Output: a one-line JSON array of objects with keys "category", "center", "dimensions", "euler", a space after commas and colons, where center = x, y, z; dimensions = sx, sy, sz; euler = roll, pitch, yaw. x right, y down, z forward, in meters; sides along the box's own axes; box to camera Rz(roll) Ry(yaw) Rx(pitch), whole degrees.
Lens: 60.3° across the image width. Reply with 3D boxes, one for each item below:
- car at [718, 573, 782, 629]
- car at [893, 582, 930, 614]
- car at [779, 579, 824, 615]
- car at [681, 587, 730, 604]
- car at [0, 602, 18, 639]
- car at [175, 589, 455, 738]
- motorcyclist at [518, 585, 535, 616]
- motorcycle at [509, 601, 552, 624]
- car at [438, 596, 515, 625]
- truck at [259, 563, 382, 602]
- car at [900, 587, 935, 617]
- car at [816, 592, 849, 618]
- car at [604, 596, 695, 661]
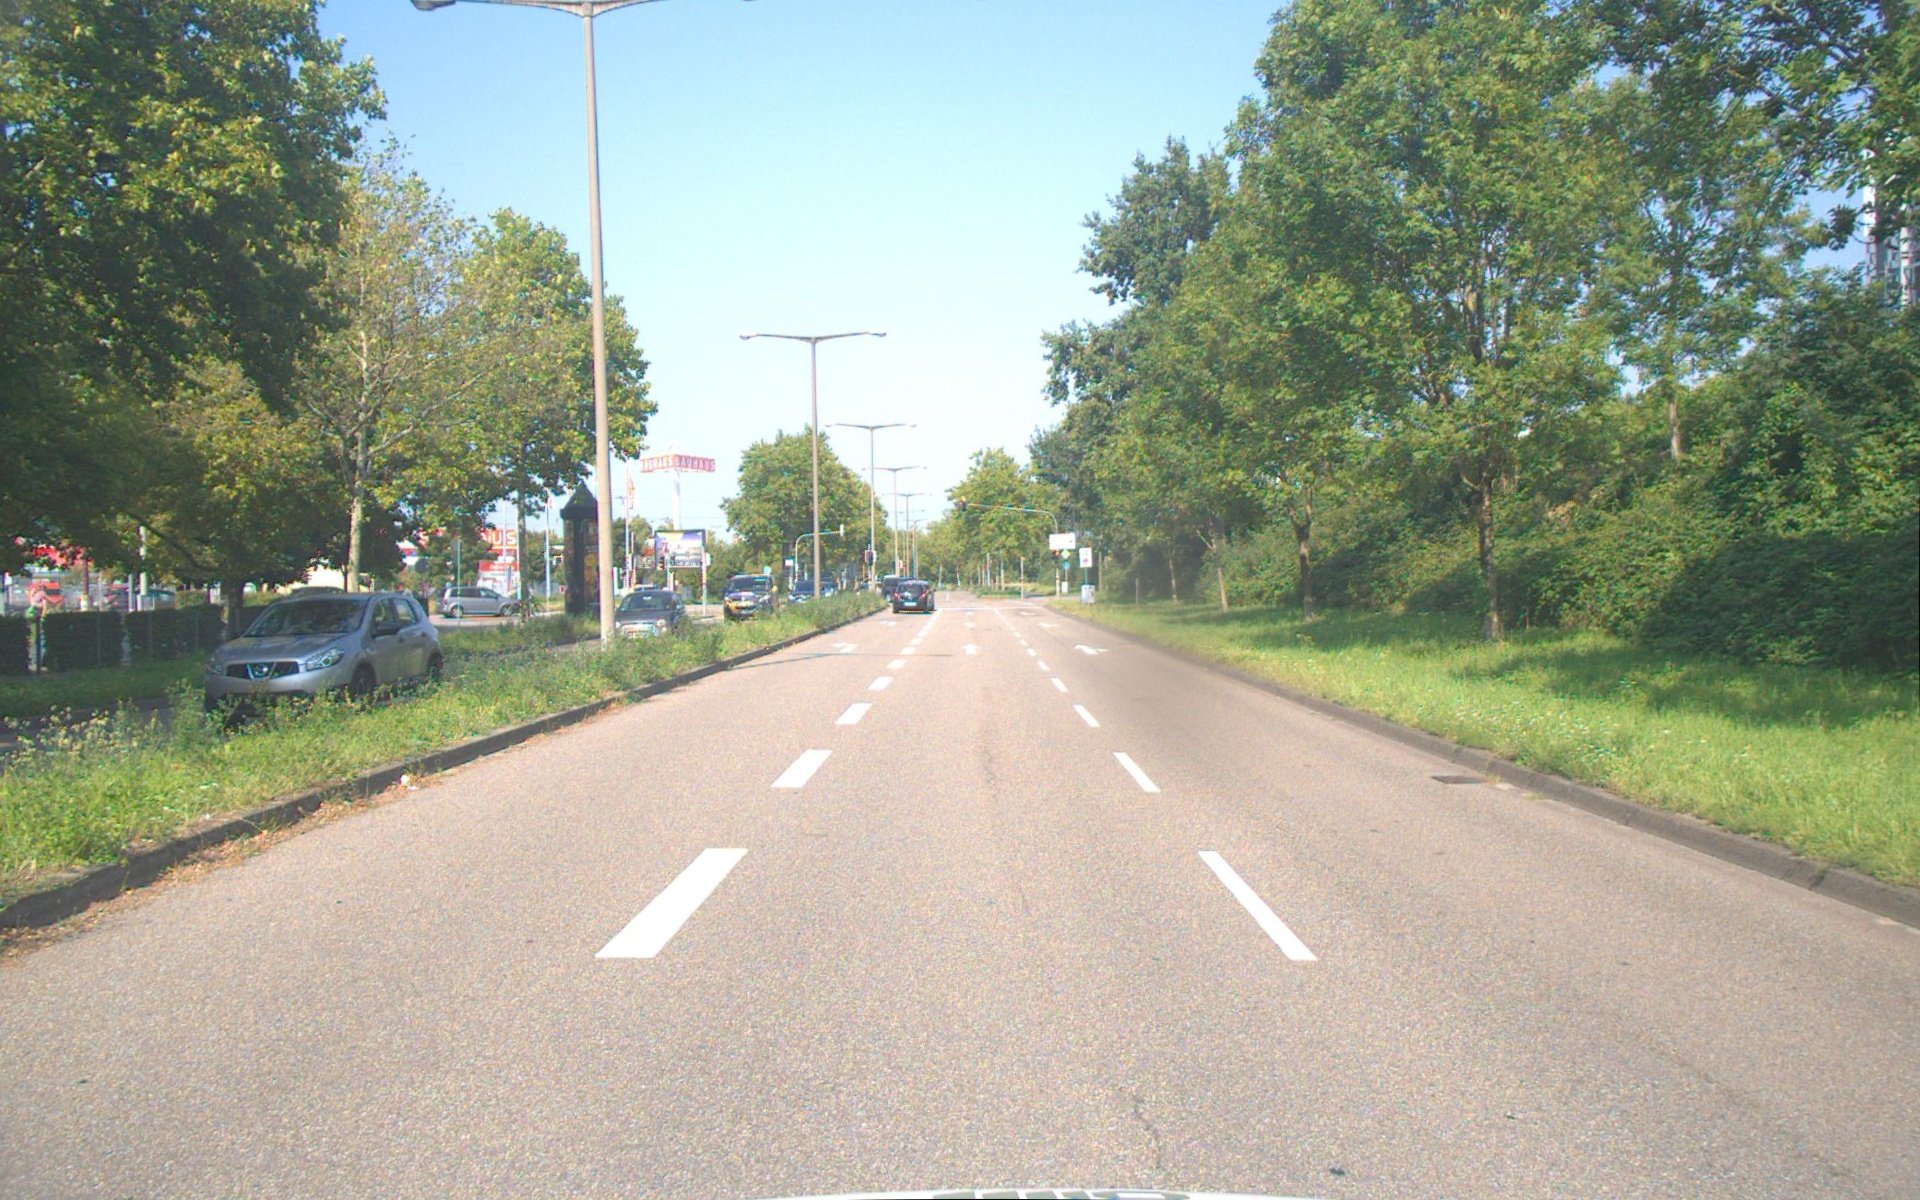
[{"category": "car", "center": [-8.185, 0.020, 64.832], "dimensions": [1.892, 2.063, 4.566], "euler": [-1, 0, -1]}, {"category": "car", "center": [-2.321, -0.116, 79.673], "dimensions": [1.657, 1.512, 4.000], "euler": [0, 0, 0]}, {"category": "car", "center": [-8.424, -0.171, 88.140], "dimensions": [1.953, 1.735, 4.503], "euler": [-3, 0, -1]}, {"category": "car", "center": [-18.969, -0.364, 123.438], "dimensions": [3.303, 1.156, 1.494], "euler": [-2, 0, 8]}, {"category": "car", "center": [-43.241, 0.940, 72.262], "dimensions": [3.454, 1.608, 1.704], "euler": [-2, 1, -36]}, {"category": "car", "center": [-7.871, 0.695, 20.632], "dimensions": [1.841, 1.621, 4.108], "euler": [-2, 0, 0]}, {"category": "motorcyclist", "center": [-22.451, 0.020, 85.685], "dimensions": [0.676, 1.599, 0.675], "euler": [0, 0, -36]}, {"category": "motorcycle", "center": [-22.296, 0.627, 85.797], "dimensions": [2.052, 1.156, 0.669], "euler": [-1, 0, -36]}, {"category": "car", "center": [-25.419, 0.550, 87.017], "dimensions": [3.661, 1.468, 1.448], "euler": [0, 0, -36]}, {"category": "truck", "center": [-53.032, -1.474, 137.289], "dimensions": [8.914, 3.009, 3.470], "euler": [-2, 1, -36]}, {"category": "car", "center": [-2.199, 0.089, 85.925], "dimensions": [1.657, 1.512, 4.000], "euler": [-1, 0, 0]}, {"category": "car", "center": [-8.182, 0.294, 106.345], "dimensions": [1.736, 1.601, 4.000], "euler": [0, 0, 1]}, {"category": "car", "center": [-7.671, 0.675, 41.138], "dimensions": [1.642, 1.512, 3.492], "euler": [0, 0, -1]}]
